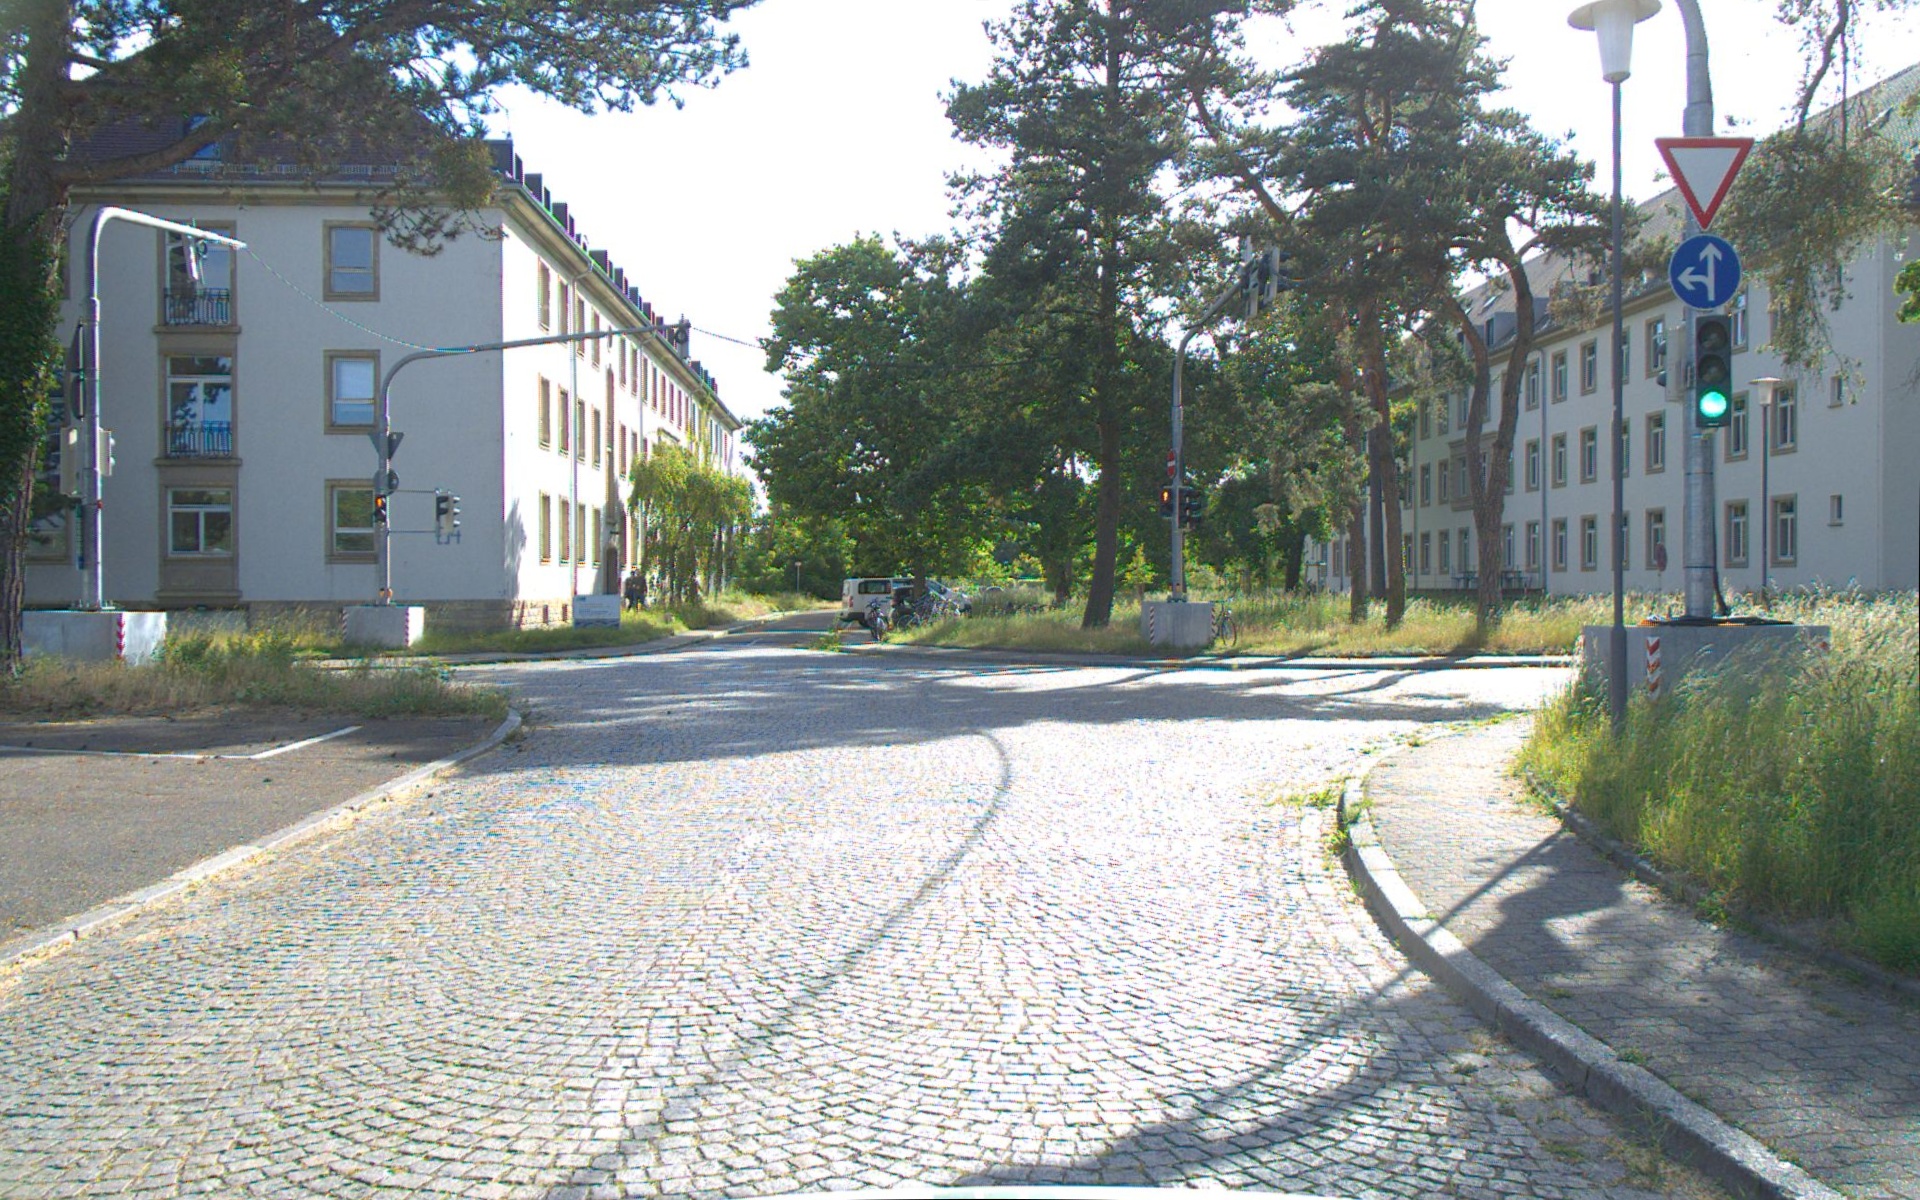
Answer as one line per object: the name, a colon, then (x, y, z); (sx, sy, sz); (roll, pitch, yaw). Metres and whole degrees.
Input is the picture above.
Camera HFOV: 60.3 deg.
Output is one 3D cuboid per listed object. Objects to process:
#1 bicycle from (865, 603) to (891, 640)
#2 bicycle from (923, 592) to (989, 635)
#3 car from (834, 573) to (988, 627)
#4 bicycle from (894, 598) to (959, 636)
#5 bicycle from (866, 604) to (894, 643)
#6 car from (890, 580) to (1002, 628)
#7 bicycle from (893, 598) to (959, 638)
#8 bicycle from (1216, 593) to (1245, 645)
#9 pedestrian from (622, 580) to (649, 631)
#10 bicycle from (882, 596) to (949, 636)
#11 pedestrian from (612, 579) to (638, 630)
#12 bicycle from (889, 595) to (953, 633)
bicycle: (-2.282, 0.591, 45.893); (0.682, 0.988, 1.859); (0, 0, -4)
bicycle: (-0.123, 0.402, 49.040); (1.903, 1.257, 0.485); (0, 0, -6)
car: (-1.964, -0.015, 65.484); (5.822, 2.049, 2.470); (0, 0, -10)
bicycle: (-0.959, 0.484, 47.500); (1.818, 1.049, 0.749); (0, 0, -6)
bicycle: (-2.141, 0.610, 43.961); (0.682, 0.988, 1.859); (0, 0, -4)
car: (-0.552, 0.130, 61.308); (3.915, 1.713, 1.843); (0, 0, -11)
bicycle: (-0.999, 0.523, 48.296); (1.903, 1.149, 0.749); (0, 0, -6)
bicycle: (5.827, 0.412, 35.680); (0.456, 1.099, 1.174); (0, 0, 1)
pedestrian: (-11.842, 0.195, 60.391); (0.794, 1.849, 0.555); (0, 0, 8)
bicycle: (-1.326, 0.469, 49.500); (1.920, 1.149, 0.641); (0, 0, -30)
pedestrian: (-12.454, 0.164, 61.459); (0.751, 1.849, 0.683); (0, 0, 8)
bicycle: (-1.204, 0.417, 50.593); (1.904, 1.149, 0.646); (0, 0, -8)
